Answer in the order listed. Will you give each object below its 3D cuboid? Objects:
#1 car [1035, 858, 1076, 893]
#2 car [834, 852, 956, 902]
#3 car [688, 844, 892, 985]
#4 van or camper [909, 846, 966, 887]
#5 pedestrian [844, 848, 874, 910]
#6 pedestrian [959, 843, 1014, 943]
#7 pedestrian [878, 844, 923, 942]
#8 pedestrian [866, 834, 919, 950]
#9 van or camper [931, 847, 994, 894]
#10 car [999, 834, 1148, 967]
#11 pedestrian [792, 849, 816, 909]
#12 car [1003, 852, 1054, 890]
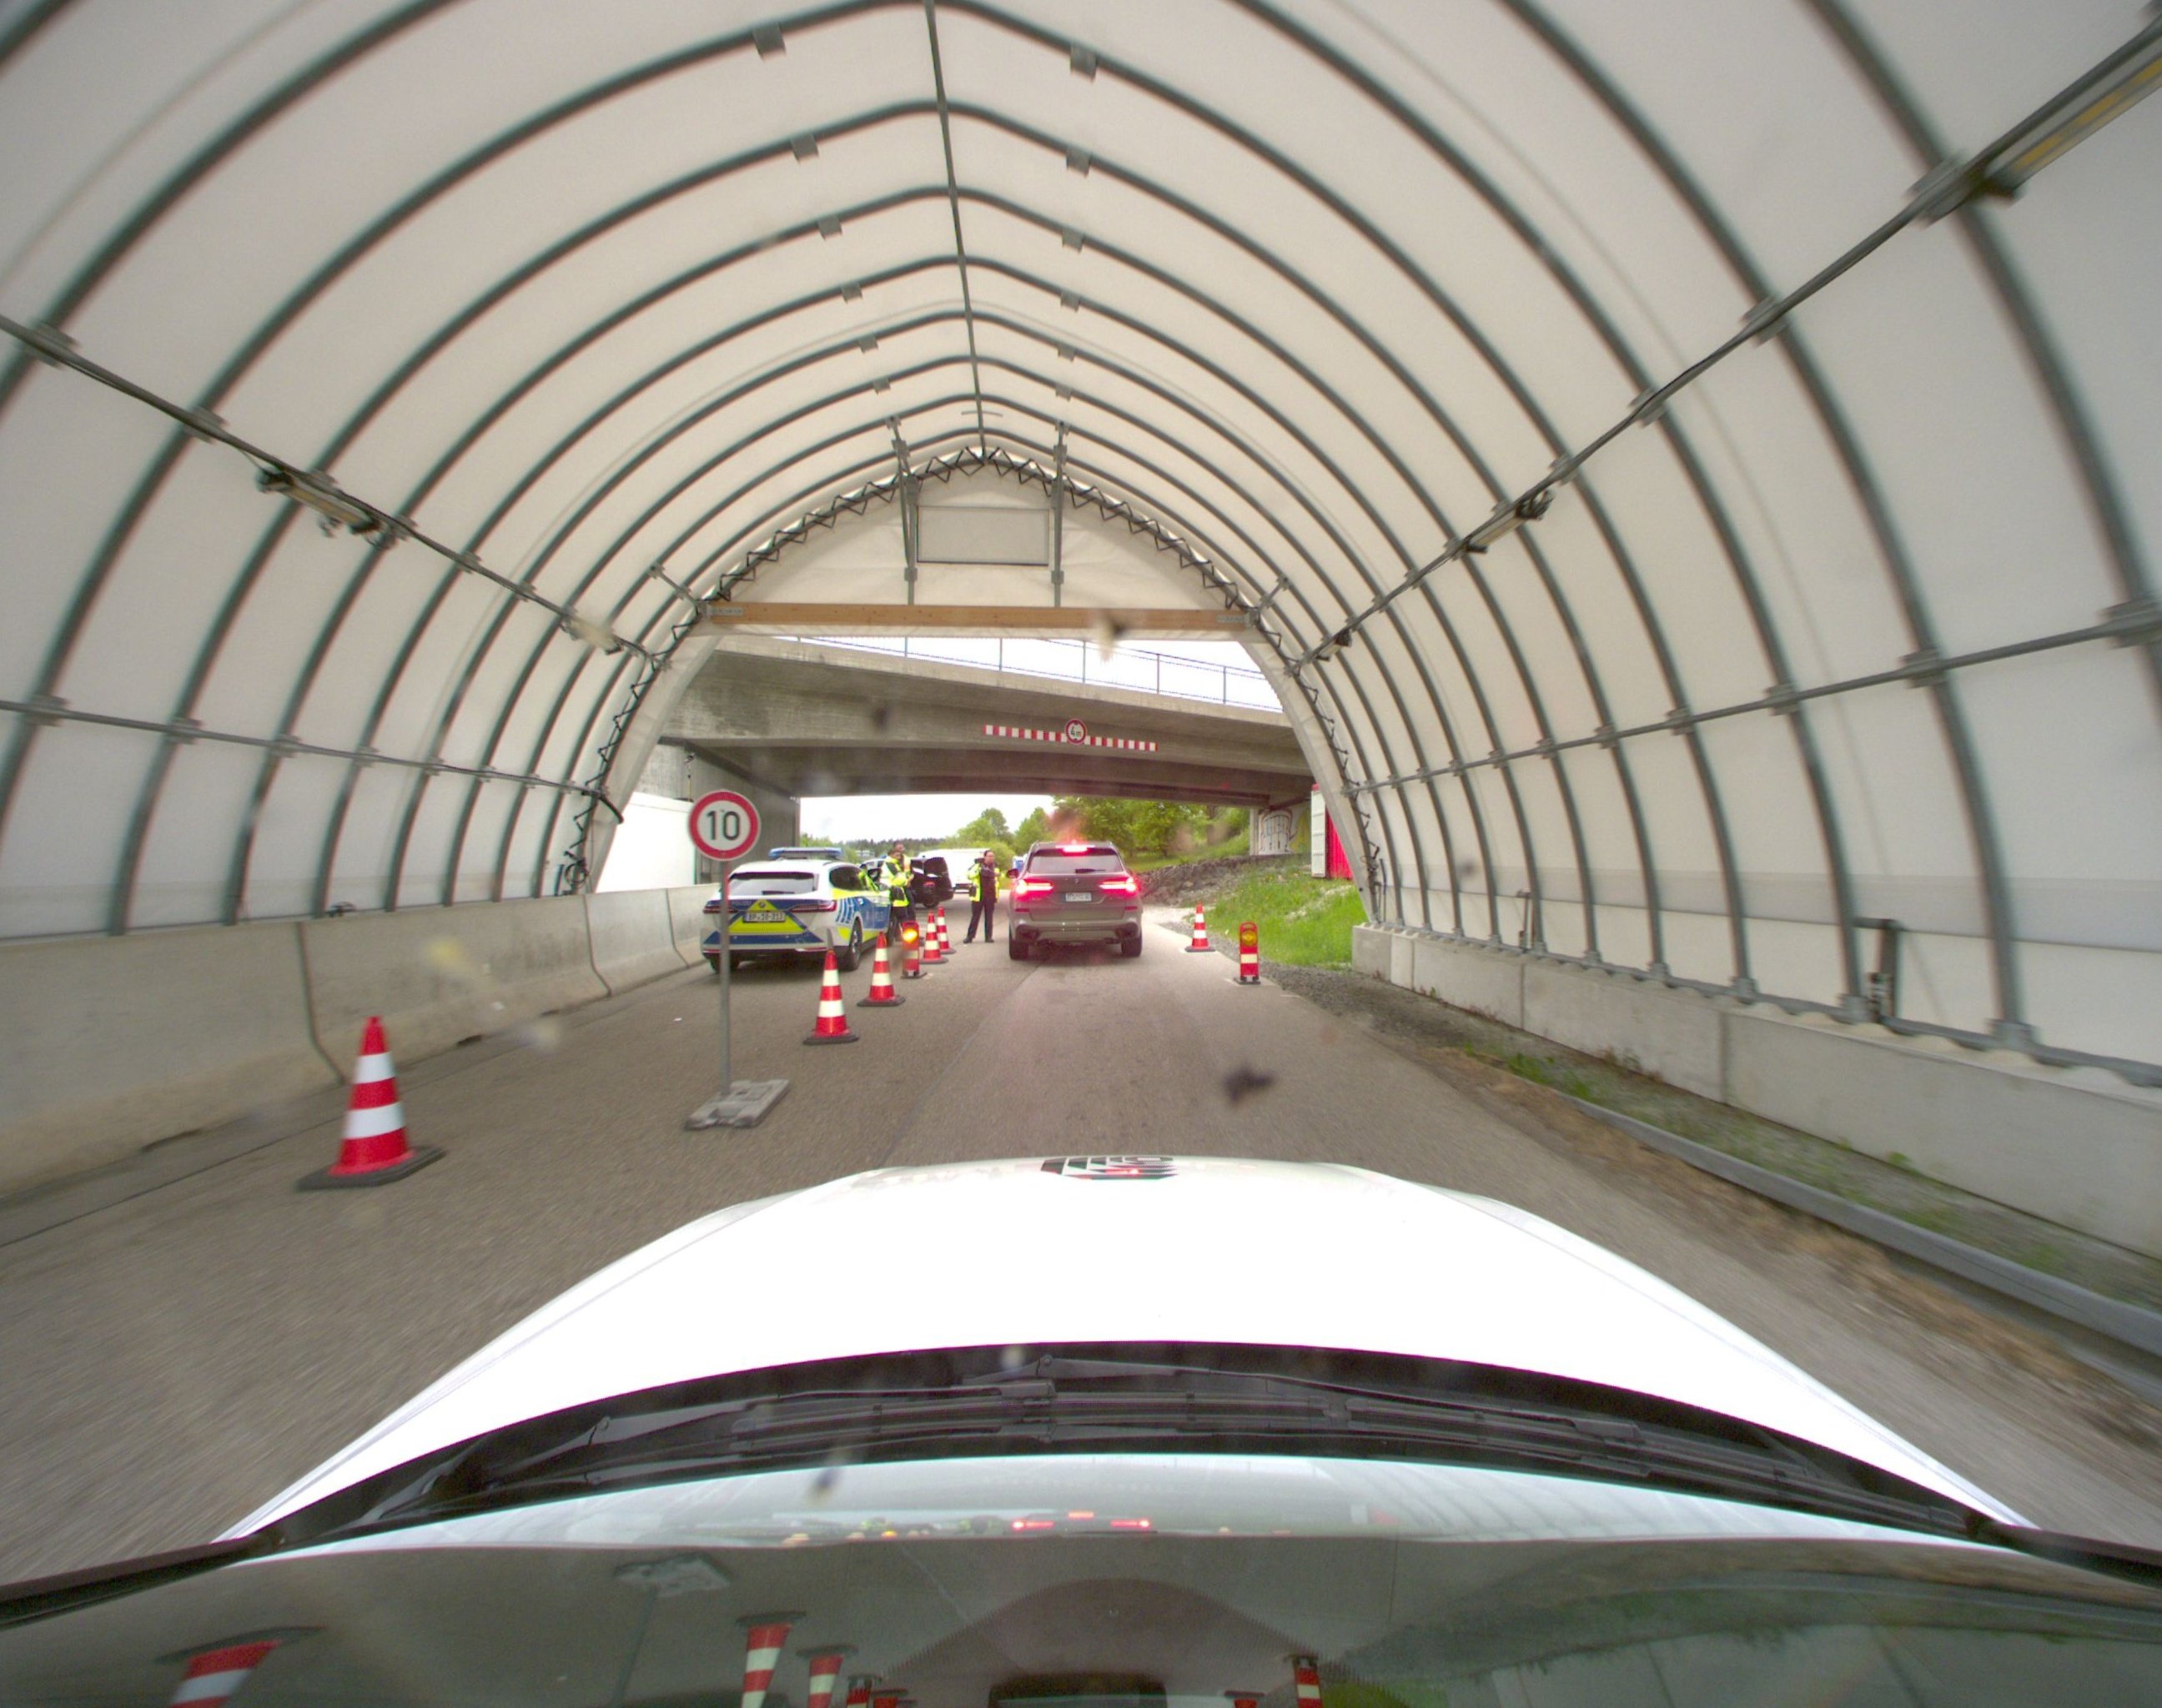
[{"bbox_3d":[-1.423,1.123,44.020,1.990,1.722,3.890,-2,0,-4],"label":"car"},{"bbox_3d":[-8.017,0.977,35.131,4.770,2.014,1.848,-2,-1,15],"label":"car"},{"bbox_3d":[-4.014,0.751,11.982,1.875,1.646,3.991,-2,0,-6],"label":"car"},{"bbox_3d":[-9.642,0.820,54.296,2.116,2.519,5.499,-1,0,-28],"label":"van or camper"},{"bbox_3d":[-7.282,0.811,26.710,0.697,2.014,0.694,-2,-1,7],"label":"pedestrian"},{"bbox_3d":[-1.705,0.679,14.655,0.782,1.722,0.751,-2,-1,-20],"label":"pedestrian"},{"bbox_3d":[-3.347,0.710,15.153,0.606,1.754,0.666,-2,-1,3],"label":"pedestrian"},{"bbox_3d":[-3.236,0.630,14.051,0.748,1.919,0.761,-2,-1,-7],"label":"pedestrian"},{"bbox_3d":[-7.166,0.963,48.588,2.238,2.552,6.563,-2,0,-21],"label":"van or camper"},{"bbox_3d":[-0.115,0.645,13.200,1.987,1.765,3.999,-2,0,-1],"label":"car"},{"bbox_3d":[-9.381,0.835,27.580,0.624,2.014,0.654,-1,0,-8],"label":"pedestrian"},{"bbox_3d":[-3.494,1.101,53.494,2.003,2.346,3.968,-1,0,-24],"label":"car"}]
